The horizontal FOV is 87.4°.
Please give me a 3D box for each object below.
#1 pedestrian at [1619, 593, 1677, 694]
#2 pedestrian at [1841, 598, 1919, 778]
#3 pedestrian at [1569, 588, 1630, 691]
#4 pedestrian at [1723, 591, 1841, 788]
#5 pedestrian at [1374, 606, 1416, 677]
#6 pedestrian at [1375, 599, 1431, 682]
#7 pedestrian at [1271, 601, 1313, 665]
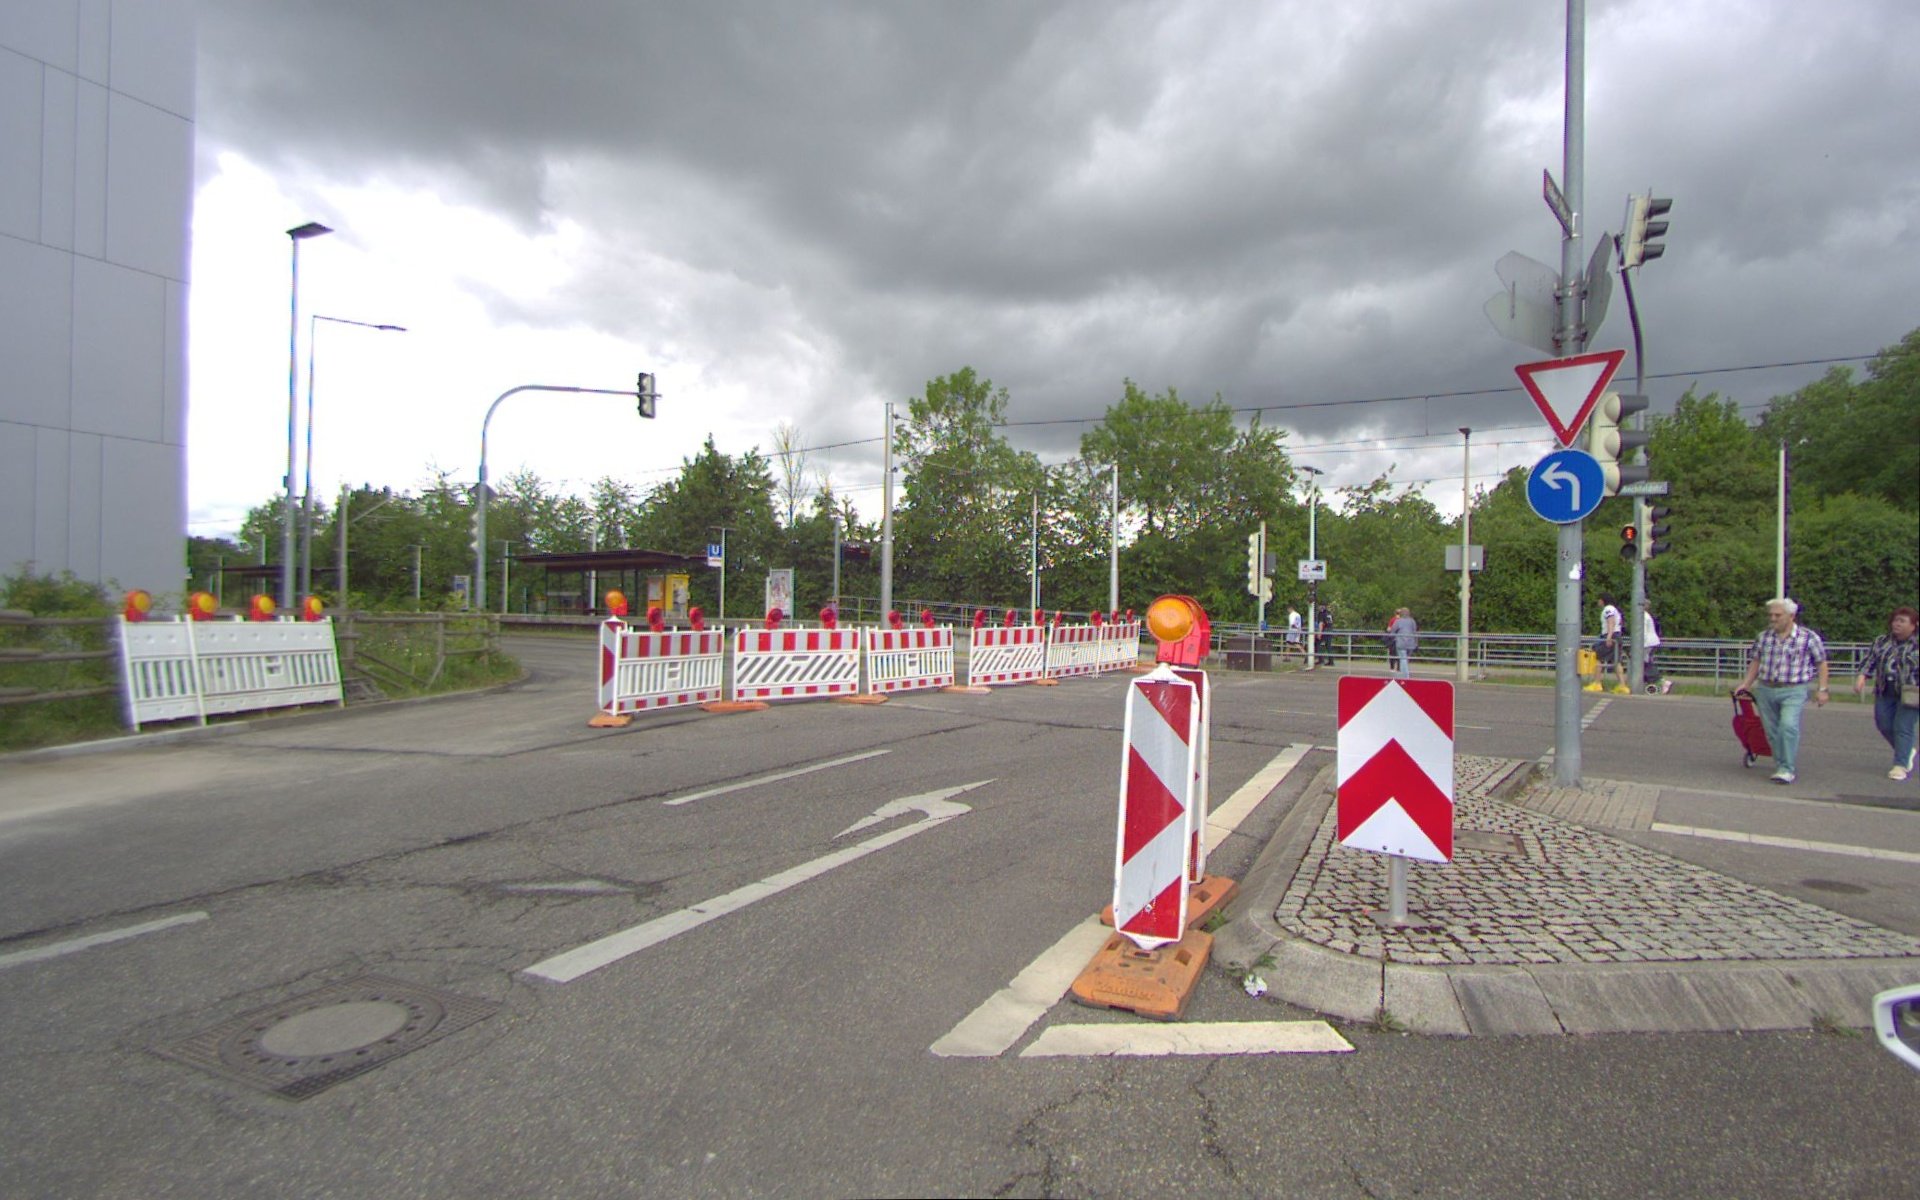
[{"bbox_3d":[12.480,0.764,18.216,0.712,1.771,0.952,1,0,44],"label":"pedestrian"},{"bbox_3d":[8.689,0.788,9.242,0.725,1.588,0.686,1,0,-33],"label":"pedestrian"},{"bbox_3d":[11.304,0.679,17.760,0.712,1.771,0.952,1,0,44],"label":"pedestrian"},{"bbox_3d":[7.297,0.762,8.920,0.717,1.655,0.691,1,-1,-41],"label":"pedestrian"},{"bbox_3d":[10.295,0.962,23.764,0.711,1.643,0.802,1,0,38],"label":"pedestrian"},{"bbox_3d":[9.768,0.877,22.148,0.943,1.771,0.719,1,0,39],"label":"pedestrian"},{"bbox_3d":[9.348,0.913,28.283,0.710,1.771,0.955,1,0,-12],"label":"pedestrian"}]
